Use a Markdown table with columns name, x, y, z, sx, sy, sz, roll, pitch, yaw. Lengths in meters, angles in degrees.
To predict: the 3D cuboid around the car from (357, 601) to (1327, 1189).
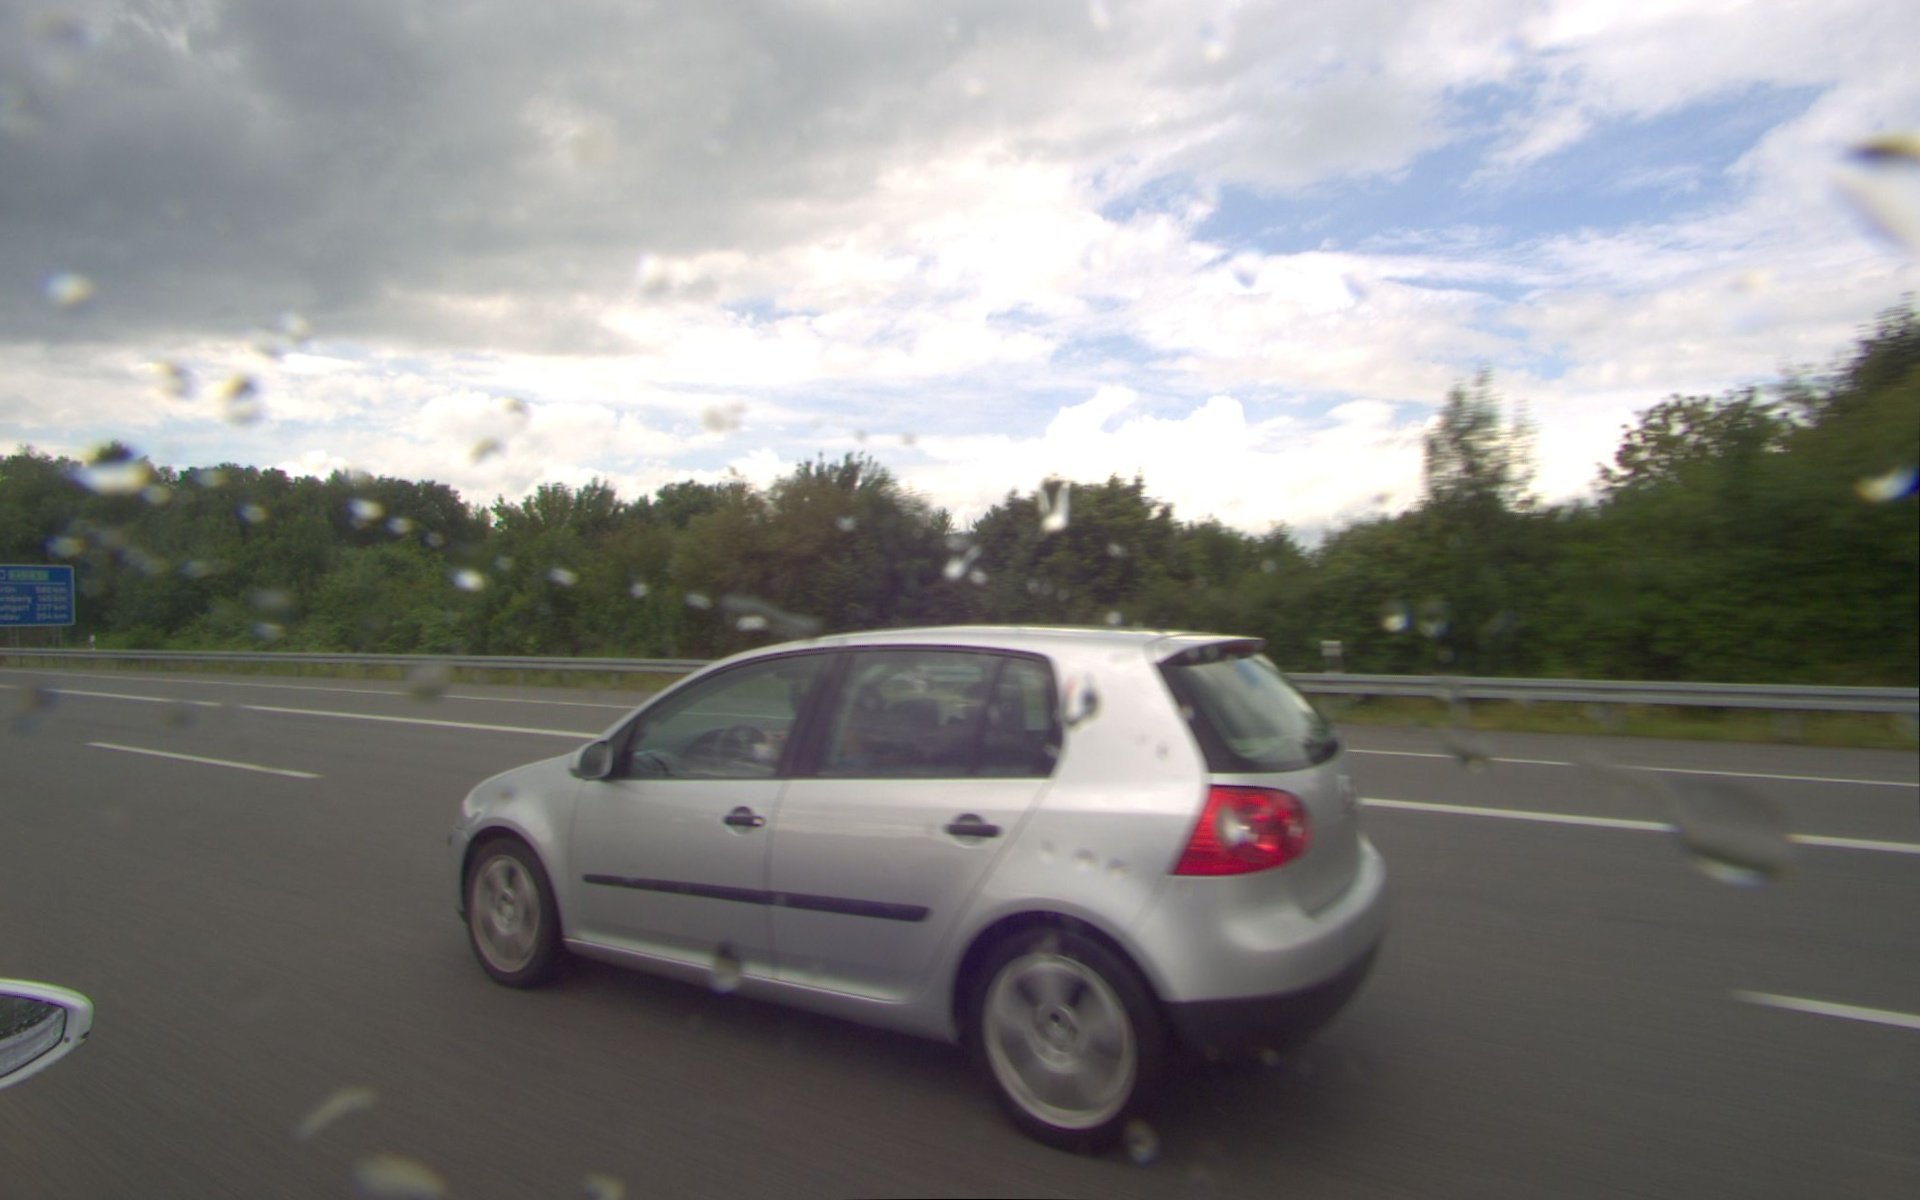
| name | x | y | z | sx | sy | sz | roll | pitch | yaw |
| --- | --- | --- | --- | --- | --- | --- | --- | --- | --- |
| car | -0.651 | 0.797 | 4.375 | 3.979 | 1.496 | 1.792 | -1 | -1 | 32 |
